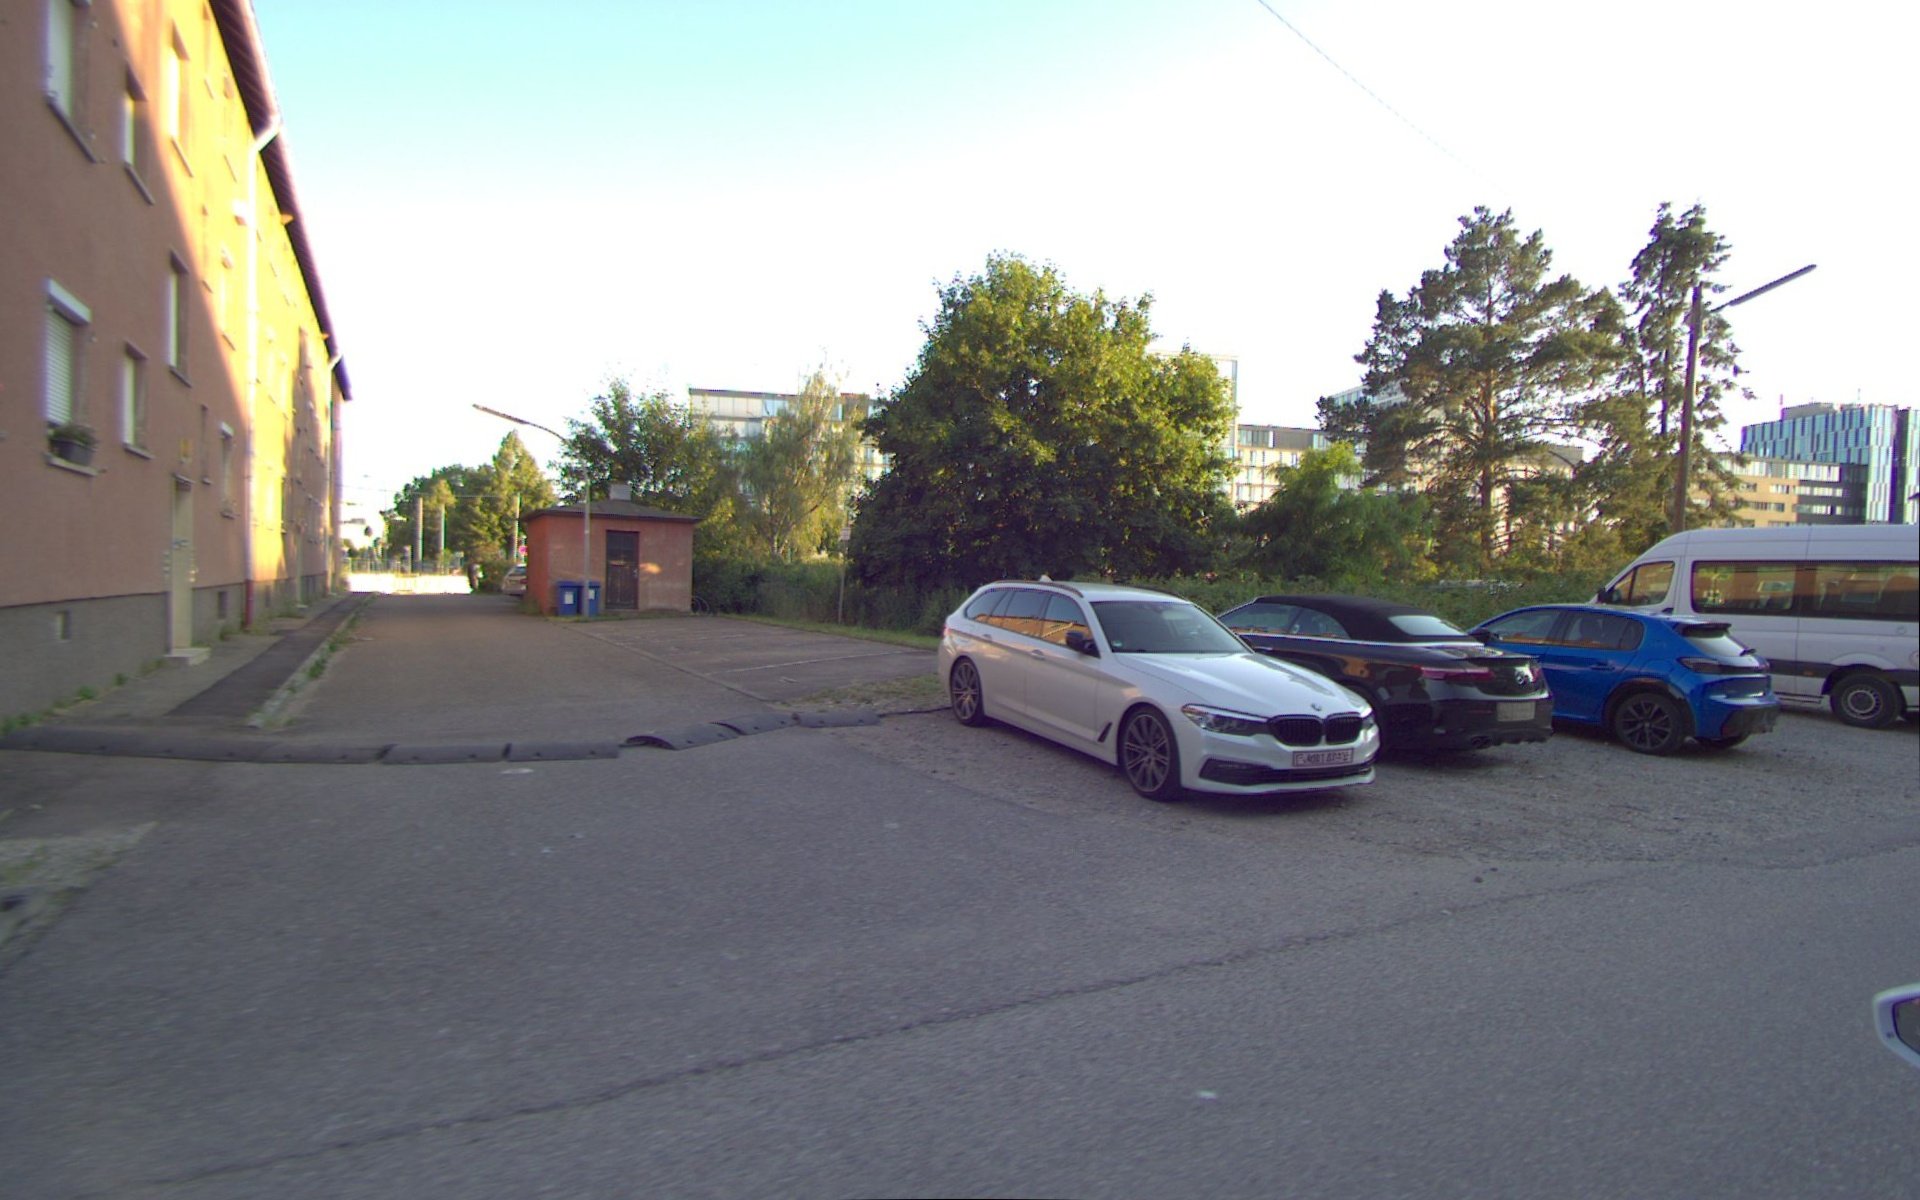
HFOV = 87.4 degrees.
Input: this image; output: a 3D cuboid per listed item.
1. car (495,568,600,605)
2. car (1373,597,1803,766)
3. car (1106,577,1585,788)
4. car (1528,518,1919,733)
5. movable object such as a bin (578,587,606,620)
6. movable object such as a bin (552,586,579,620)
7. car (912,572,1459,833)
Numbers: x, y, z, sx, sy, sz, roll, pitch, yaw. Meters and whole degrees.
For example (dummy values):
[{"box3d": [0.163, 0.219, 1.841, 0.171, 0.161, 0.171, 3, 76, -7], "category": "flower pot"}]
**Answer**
[{"box3d": [-16.959, -0.531, 41.452, 1.836, 1.405, 3.599, 3, 1, 31], "category": "car"}, {"box3d": [6.991, 0.787, 11.597, 1.708, 1.449, 3.816, 2, 2, -31], "category": "car"}, {"box3d": [3.603, 0.635, 10.272, 1.709, 1.565, 4.391, 2, 2, -32], "category": "car"}, {"box3d": [11.889, 0.253, 14.916, 2.193, 2.661, 5.667, 2, 2, -27], "category": "car"}, {"box3d": [-10.530, 0.100, 28.725, 0.637, 0.915, 0.608, 2, 2, -30], "category": "movable object such as a bin"}, {"box3d": [-11.137, 0.090, 28.351, 0.637, 0.915, 0.608, 2, 2, -30], "category": "movable object such as a bin"}, {"box3d": [1.547, 0.619, 9.031, 2.089, 1.565, 4.975, 2, 2, -27], "category": "car"}]
